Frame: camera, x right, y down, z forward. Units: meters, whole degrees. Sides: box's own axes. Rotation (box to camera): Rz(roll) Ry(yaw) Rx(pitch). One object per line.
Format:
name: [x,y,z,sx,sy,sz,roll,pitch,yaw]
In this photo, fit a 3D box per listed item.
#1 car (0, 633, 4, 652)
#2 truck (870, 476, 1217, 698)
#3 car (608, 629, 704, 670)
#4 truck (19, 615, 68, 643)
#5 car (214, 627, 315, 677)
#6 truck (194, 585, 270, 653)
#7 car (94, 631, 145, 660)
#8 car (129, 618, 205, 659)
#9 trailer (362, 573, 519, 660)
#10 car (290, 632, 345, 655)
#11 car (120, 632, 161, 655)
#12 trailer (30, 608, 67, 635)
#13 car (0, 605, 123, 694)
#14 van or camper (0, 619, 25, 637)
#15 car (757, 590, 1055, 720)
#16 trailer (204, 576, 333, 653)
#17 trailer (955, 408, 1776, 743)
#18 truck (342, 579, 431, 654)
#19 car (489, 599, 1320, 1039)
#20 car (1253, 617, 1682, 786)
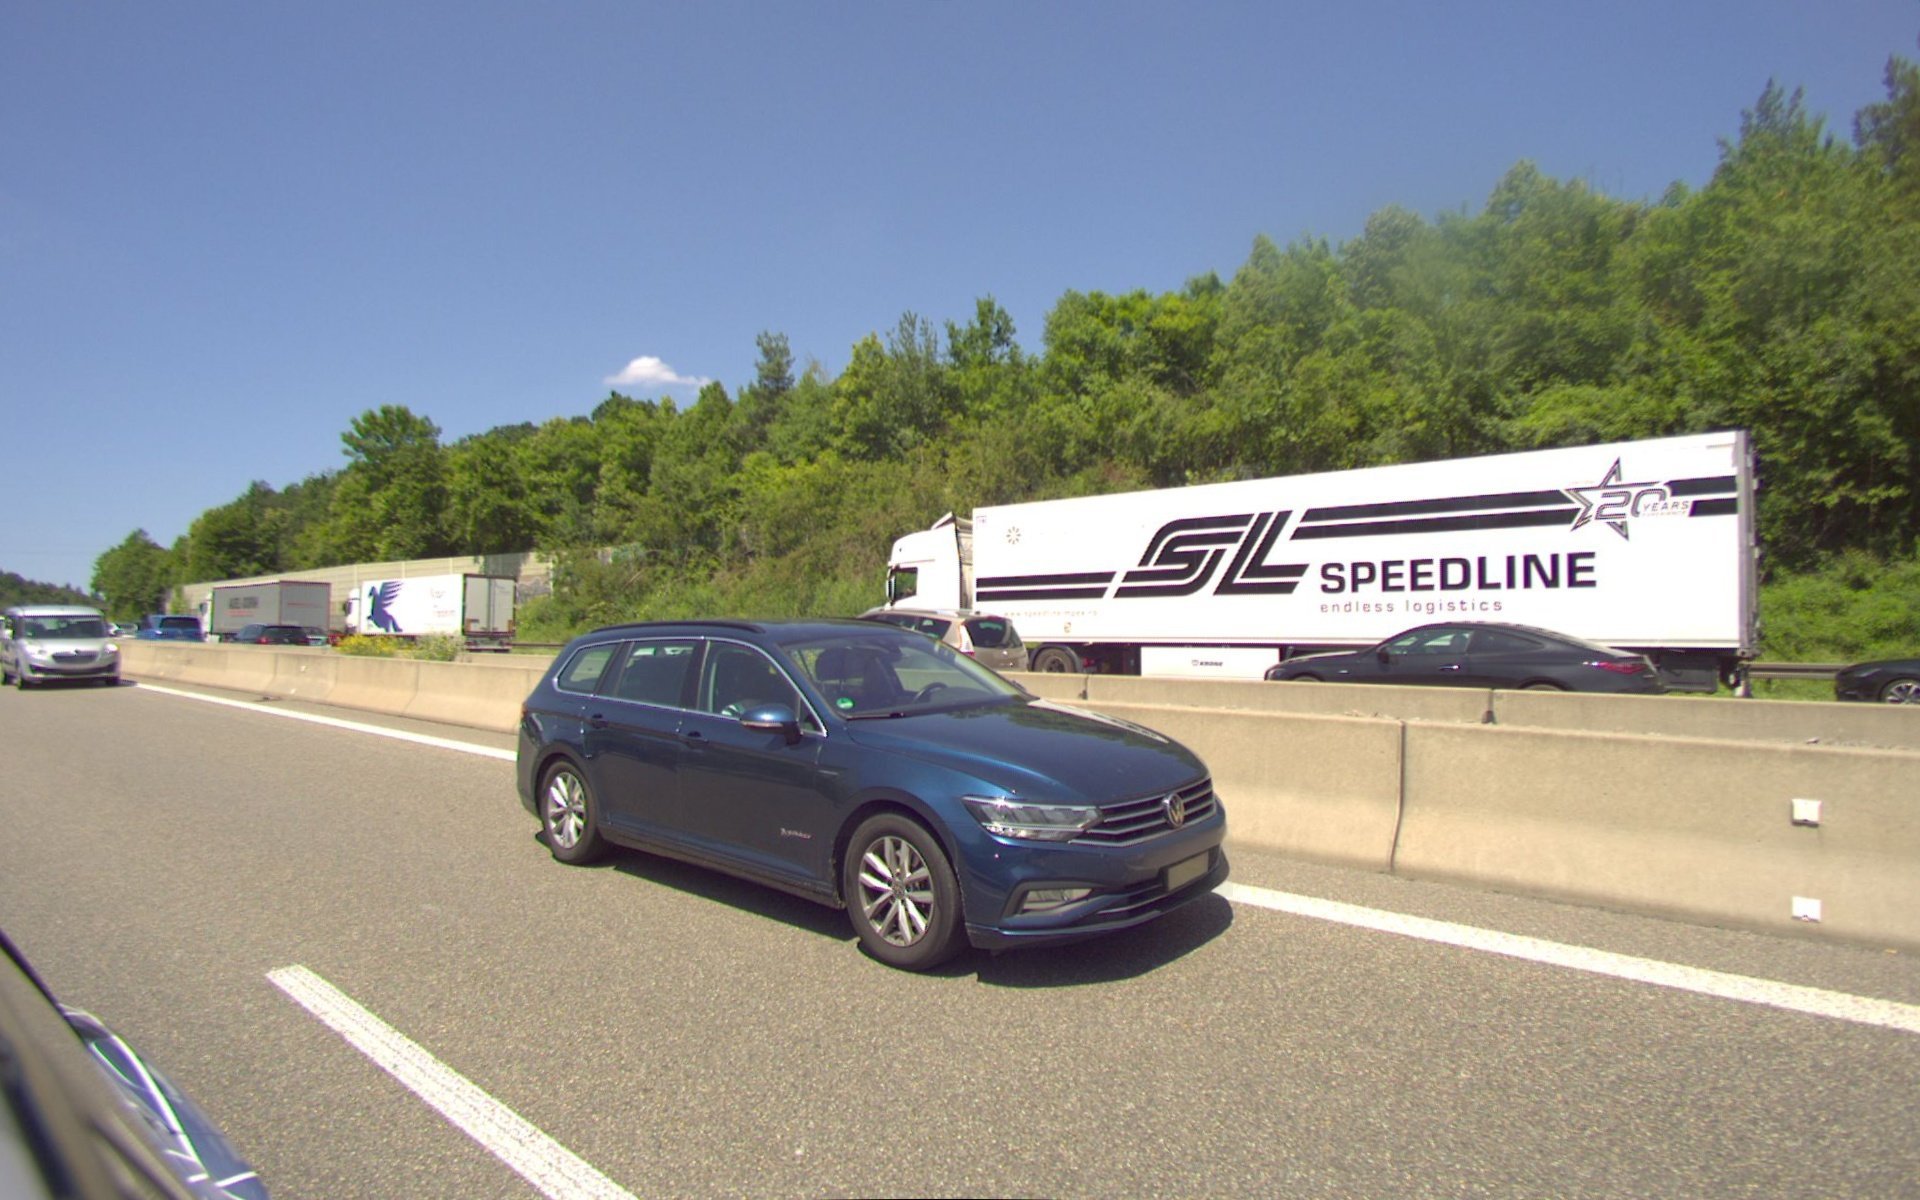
car: [-95.607,4.103,99.444,4.692,1.815,1.926,0,-2,42]
truck: [1.638,-0.190,22.690,7.596,4.196,2.774,0,-2,41]
car: [-11.888,1.899,39.435,4.188,1.477,1.649,-1,-2,41]
truck: [-96.089,2.964,105.978,11.624,2.709,2.501,0,-2,42]
car: [-24.678,1.790,35.840,4.535,1.652,1.886,-1,-2,41]
truck: [-47.385,1.256,65.839,5.657,4.246,2.811,-1,-2,41]
car: [-60.423,3.261,72.727,4.745,1.964,1.973,0,-2,41]
car: [-37.822,1.804,48.233,5.034,1.861,1.892,0,-2,41]
trailer: [-27.368,0.860,52.885,12.621,4.078,2.778,0,-2,41]
car: [-40.885,2.737,64.343,4.499,1.381,1.744,-1,-2,42]
car: [-69.279,3.664,85.544,4.859,1.823,1.717,-1,-2,39]
trailer: [-138.488,3.234,153.692,13.827,3.938,2.782,-1,-3,43]
car: [-20.638,1.092,23.081,3.999,1.858,1.757,-1,-3,42]
van or camper: [-151.949,4.427,162.320,6.804,2.756,2.245,-1,-3,42]
car: [-0.981,0.802,16.131,4.785,1.769,1.864,0,-2,41]
trailer: [-41.992,0.874,61.074,14.733,4.197,2.805,0,-2,42]
trailer: [6.114,-0.257,18.805,14.028,4.371,2.774,0,-2,41]
truck: [-32.706,0.961,57.647,5.082,4.078,2.778,0,-2,41]
car: [-0.678,0.780,5.556,4.728,1.438,1.714,-1,-3,42]
car: [6.430,1.158,13.202,4.729,1.790,1.766,0,-2,41]
